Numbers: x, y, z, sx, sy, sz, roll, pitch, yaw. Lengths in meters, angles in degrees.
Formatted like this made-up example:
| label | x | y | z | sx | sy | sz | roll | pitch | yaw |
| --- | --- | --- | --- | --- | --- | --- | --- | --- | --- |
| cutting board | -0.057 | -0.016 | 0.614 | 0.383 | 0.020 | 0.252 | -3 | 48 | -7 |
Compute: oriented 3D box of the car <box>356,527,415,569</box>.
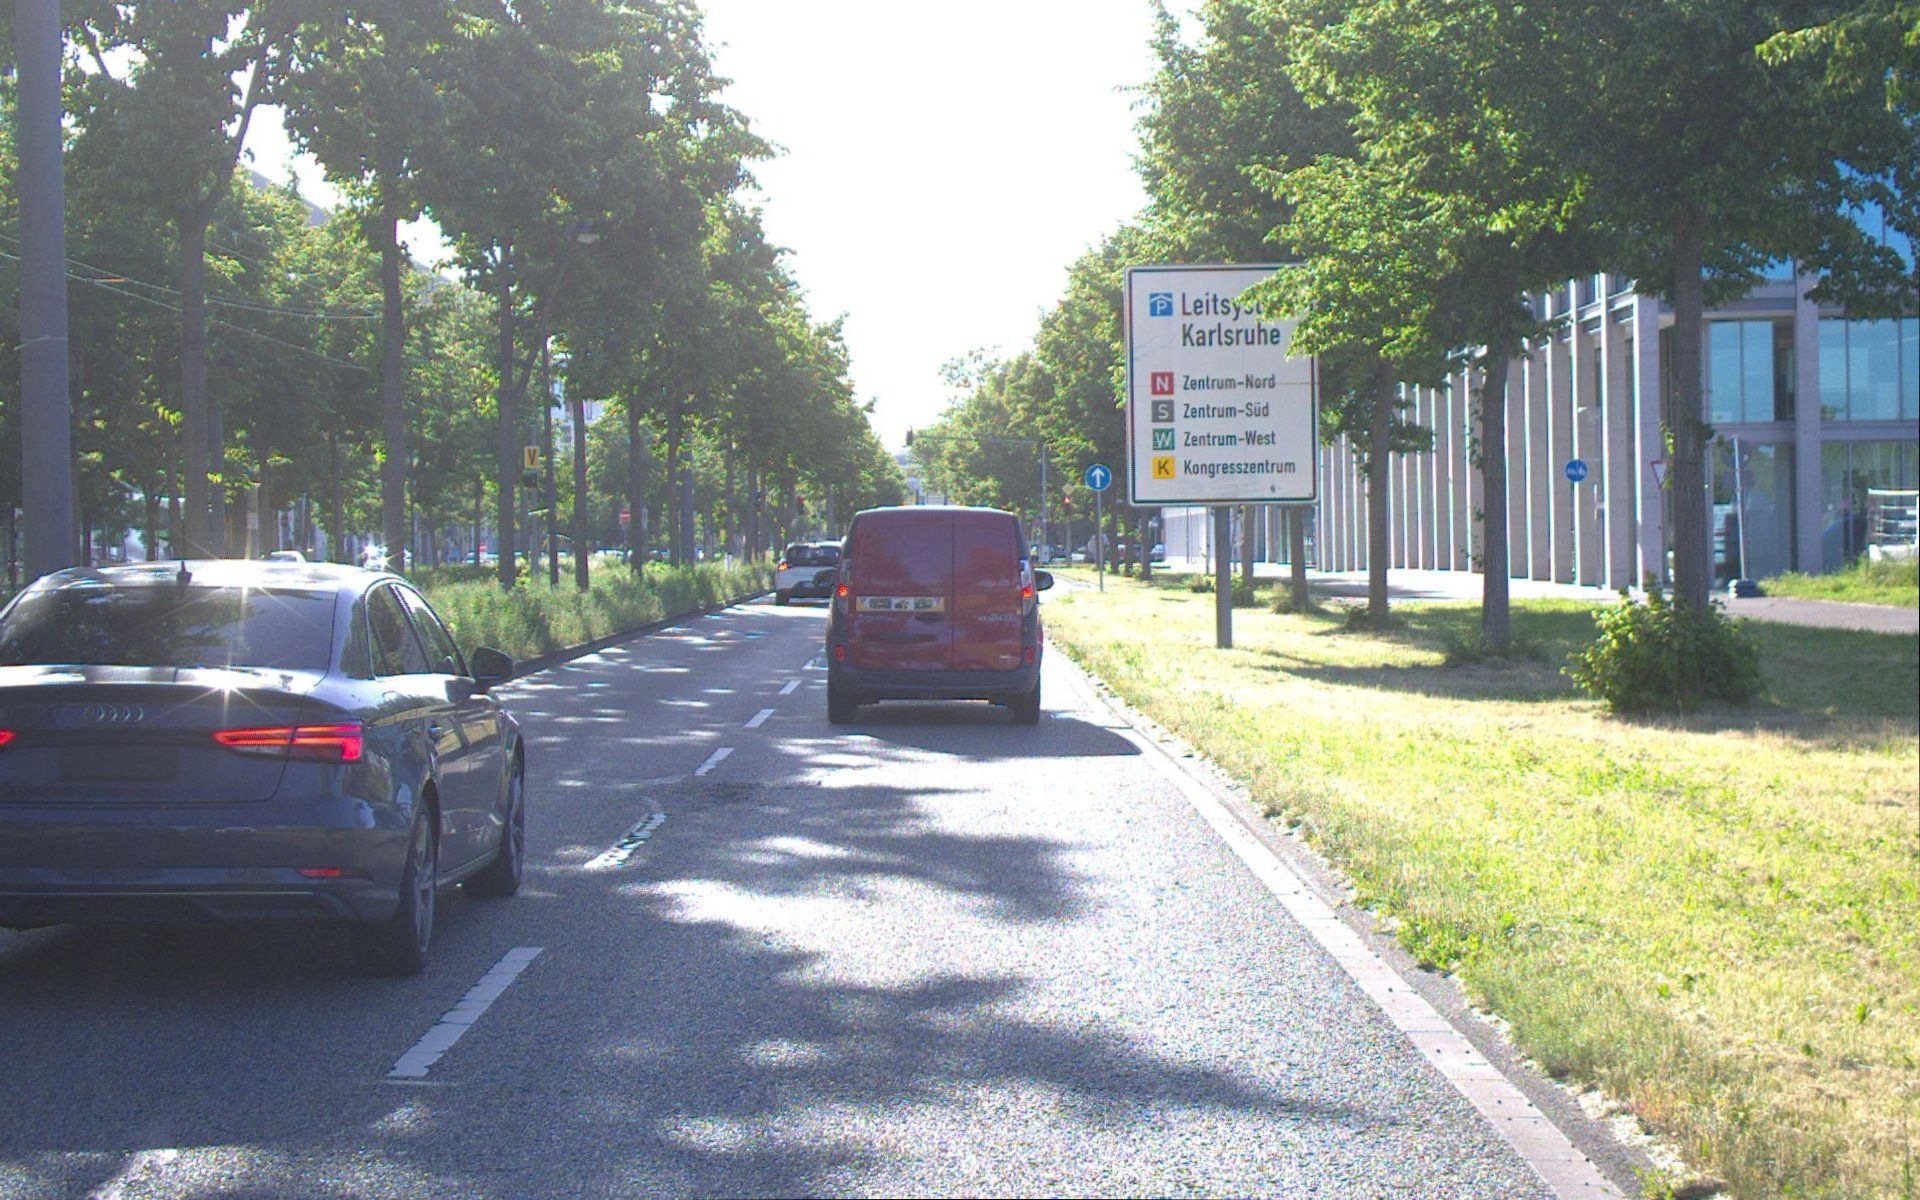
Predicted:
| label | x | y | z | sx | sy | sz | roll | pitch | yaw |
| --- | --- | --- | --- | --- | --- | --- | --- | --- | --- |
| car | -24.213 | -2.207 | 145.041 | 1.797 | 1.683 | 4.321 | 1 | 2 | -1 |

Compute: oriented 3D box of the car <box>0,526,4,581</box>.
| label | x | y | z | sx | sy | sz | roll | pitch | yaw |
| --- | --- | --- | --- | --- | --- | --- | --- | --- | --- |
| car | -23.369 | -0.981 | 78.648 | 1.797 | 1.287 | 4.311 | -2 | 2 | -1 |

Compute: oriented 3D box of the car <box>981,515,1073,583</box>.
| label | x | y | z | sx | sy | sz | roll | pitch | yaw |
| --- | --- | --- | --- | --- | --- | --- | --- | --- | --- |
| car | 1.497 | -1.174 | 78.269 | 1.720 | 1.420 | 3.817 | 1 | 2 | -4 |

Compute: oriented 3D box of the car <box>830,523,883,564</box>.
| label | x | y | z | sx | sy | sz | roll | pitch | yaw |
| --- | --- | --- | --- | --- | --- | --- | --- | --- | --- |
| car | -4.021 | -2.219 | 134.130 | 1.843 | 1.529 | 3.940 | -1 | 1 | 1 |

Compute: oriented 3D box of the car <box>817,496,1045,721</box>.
| label | x | y | z | sx | sy | sz | roll | pitch | yaw |
| --- | --- | --- | --- | --- | --- | --- | --- | --- | --- |
| car | -0.278 | 0.027 | 29.444 | 1.797 | 1.771 | 4.000 | 1 | 1 | -1 |

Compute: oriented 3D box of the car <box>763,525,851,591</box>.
| label | x | y | z | sx | sy | sz | roll | pitch | yaw |
| --- | --- | --- | --- | --- | --- | --- | --- | --- | --- |
| car | -3.481 | -0.970 | 78.569 | 1.942 | 1.436 | 4.001 | -1 | 1 | -2 |

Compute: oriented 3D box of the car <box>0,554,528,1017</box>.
| label | x | y | z | sx | sy | sz | roll | pitch | yaw |
| --- | --- | --- | --- | --- | --- | --- | --- | --- | --- |
| car | -2.681 | 0.545 | 12.650 | 1.721 | 1.361 | 4.146 | 1 | 1 | -1 |

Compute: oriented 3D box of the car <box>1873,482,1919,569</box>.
| label | x | y | z | sx | sy | sz | roll | pitch | yaw |
| --- | --- | --- | --- | --- | --- | --- | --- | --- | --- |
| car | 23.894 | -1.754 | 79.590 | 5.068 | 1.975 | 1.938 | -1 | 1 | 7 |
